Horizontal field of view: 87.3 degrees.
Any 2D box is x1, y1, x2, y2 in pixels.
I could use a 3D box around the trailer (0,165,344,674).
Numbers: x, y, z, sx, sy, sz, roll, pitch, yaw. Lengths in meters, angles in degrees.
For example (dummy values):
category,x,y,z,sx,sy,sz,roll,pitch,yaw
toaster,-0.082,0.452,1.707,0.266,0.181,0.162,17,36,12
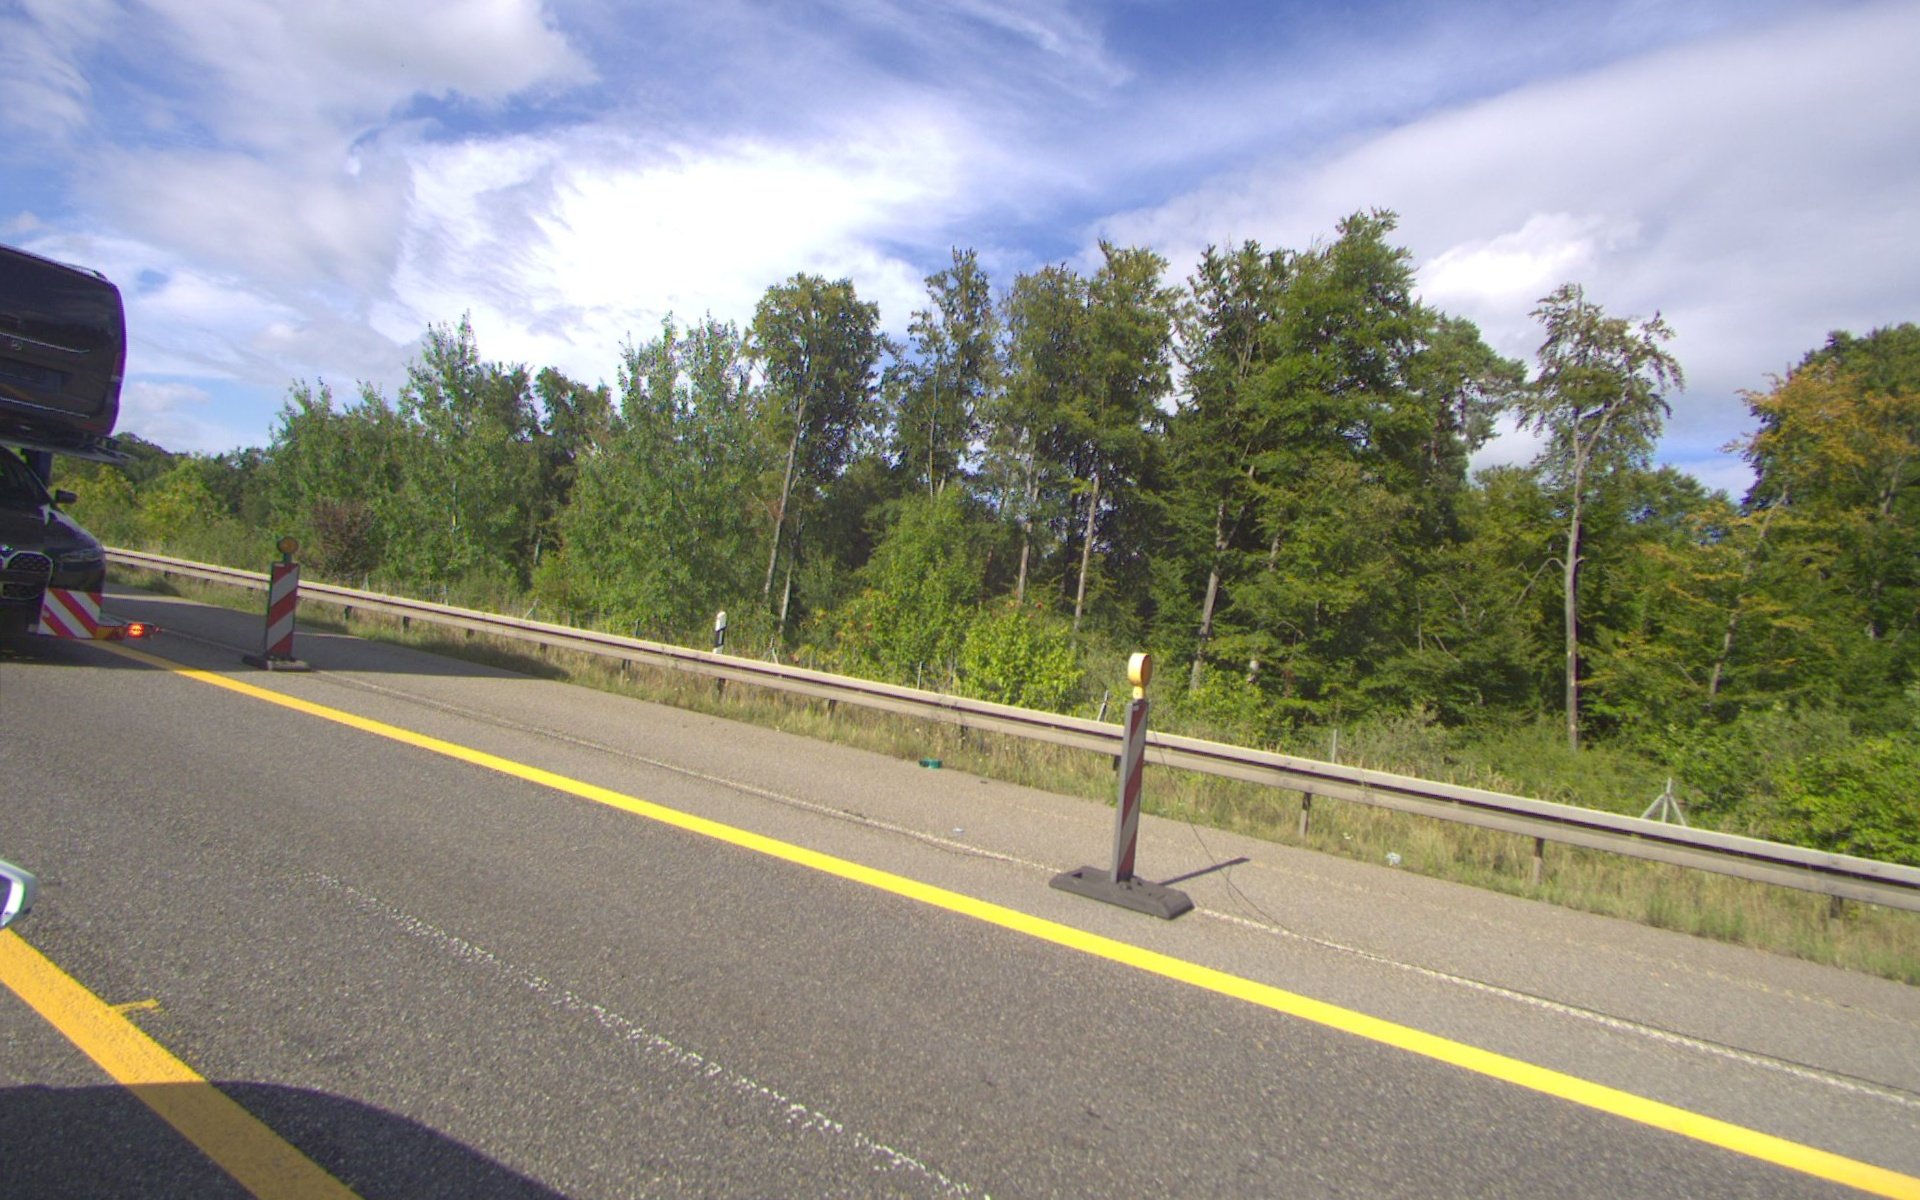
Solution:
category,x,y,z,sx,sy,sz,roll,pitch,yaw
trailer,-14.785,-2.250,13.431,15.953,4.244,3.735,6,-2,30
